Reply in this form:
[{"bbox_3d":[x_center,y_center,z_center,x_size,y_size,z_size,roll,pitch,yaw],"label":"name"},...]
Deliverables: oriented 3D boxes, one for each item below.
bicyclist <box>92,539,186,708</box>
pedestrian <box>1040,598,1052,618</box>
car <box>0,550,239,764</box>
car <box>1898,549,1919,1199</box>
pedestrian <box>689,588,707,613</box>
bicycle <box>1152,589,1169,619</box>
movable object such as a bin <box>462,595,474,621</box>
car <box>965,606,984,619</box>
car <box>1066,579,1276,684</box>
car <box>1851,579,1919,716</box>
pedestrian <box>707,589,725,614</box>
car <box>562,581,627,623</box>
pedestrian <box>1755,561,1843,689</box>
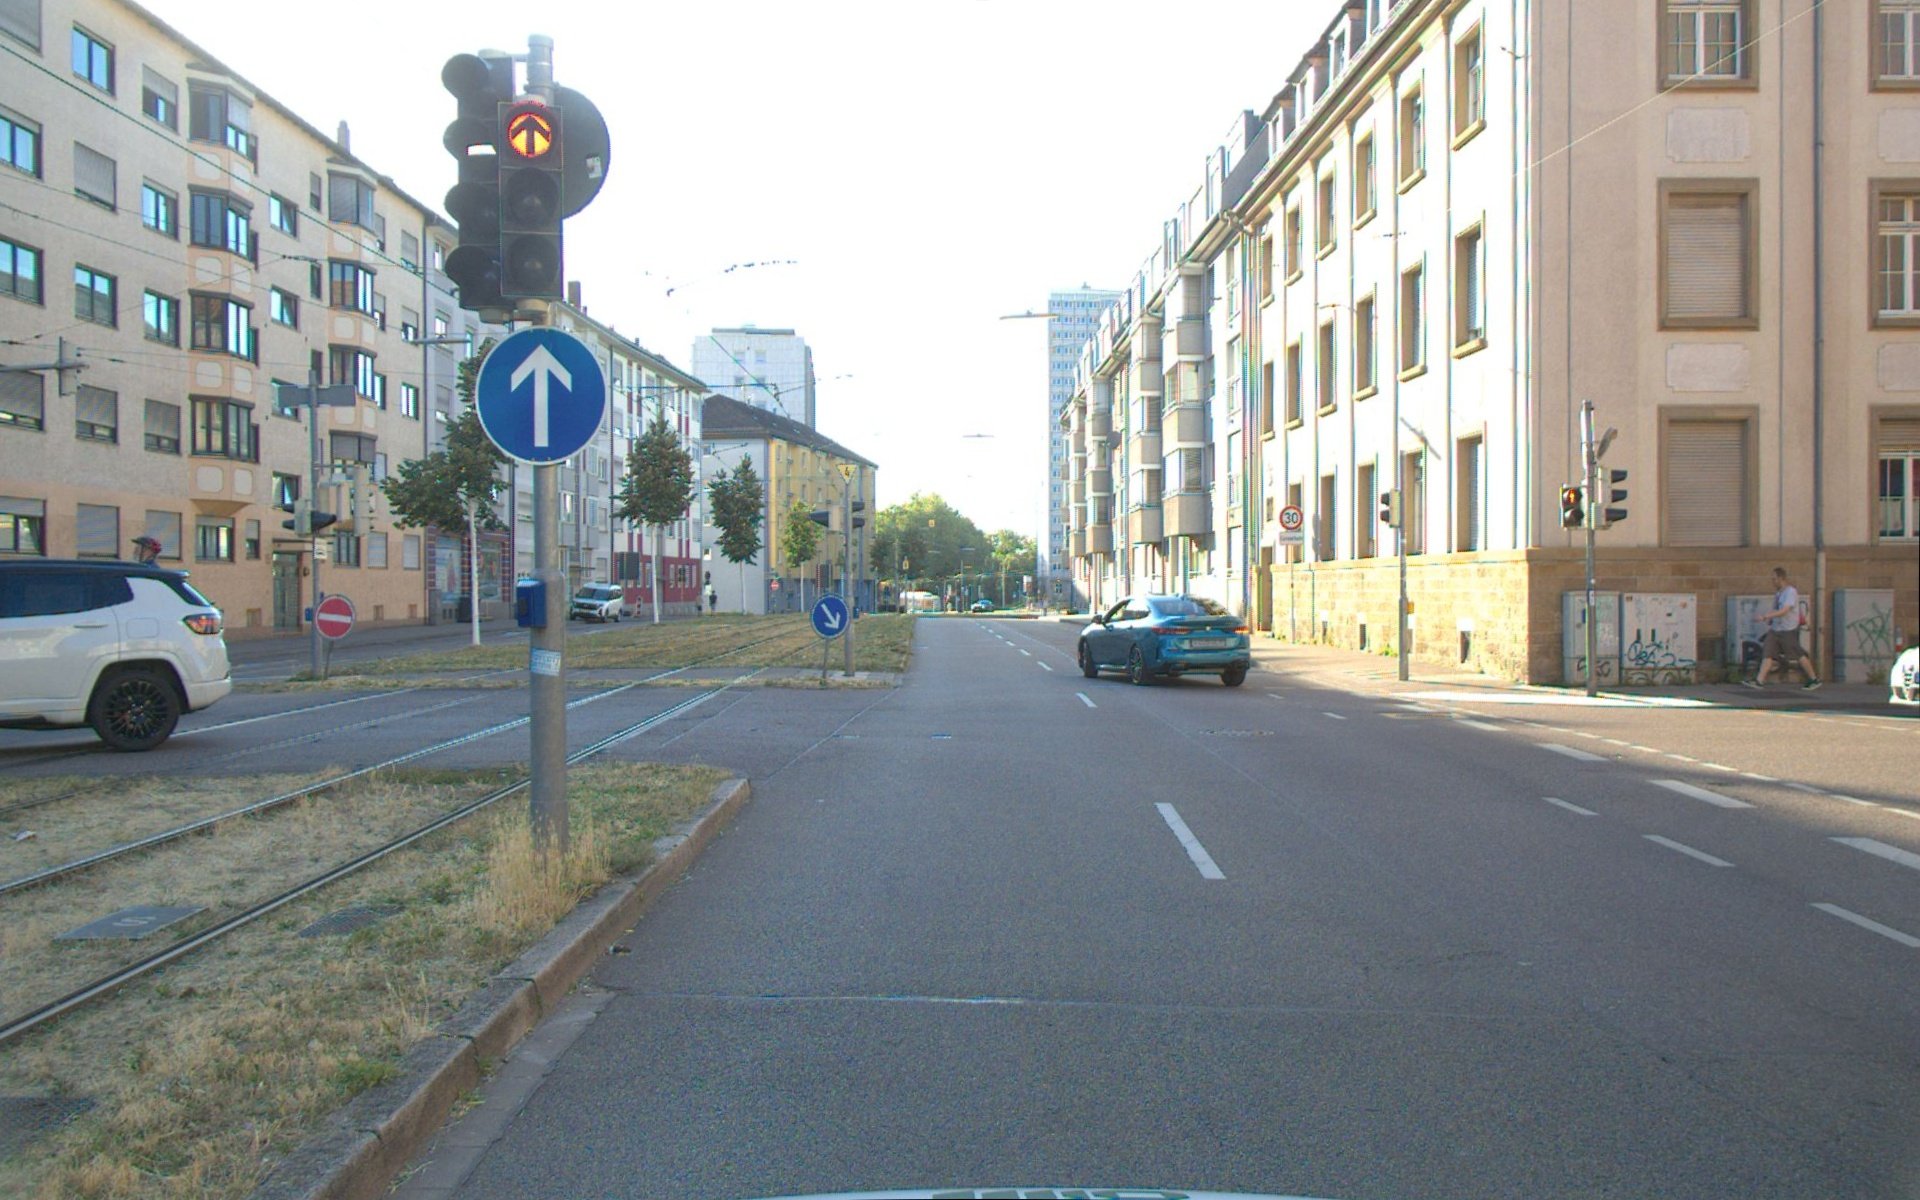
[{"bbox_3d":[-9.514,0.256,19.188,0.792,1.915,0.651,-1,2,-12],"label":"bicyclist"},{"bbox_3d":[5.339,0.484,102.523,0.677,1.256,0.736,1,0,0],"label":"pedestrian"},{"bbox_3d":[-8.702,0.476,14.383,4.330,1.765,1.981,-1,0,-29],"label":"car"},{"bbox_3d":[2.874,0.719,1.431,1.663,1.580,4.225,1,0,-1],"label":"car"},{"bbox_3d":[-17.882,0.032,112.896,0.942,1.723,1.011,1,0,4],"label":"pedestrian"},{"bbox_3d":[7.515,0.158,62.039,0.376,1.115,1.503,-1,0,-3],"label":"bicycle"},{"bbox_3d":[-20.245,0.330,68.056,0.292,1.054,0.441,1,-1,2],"label":"movable object such as a bin"},{"bbox_3d":[1.916,1.643,217.599,1.857,1.662,4.751,-1,0,7],"label":"car"},{"bbox_3d":[3.365,0.492,27.335,1.960,1.581,4.376,1,0,-14],"label":"car"},{"bbox_3d":[13.137,0.530,19.754,3.904,1.591,2.000,-1,0,1],"label":"car"},{"bbox_3d":[-16.757,0.107,113.616,0.942,1.699,1.011,1,0,4],"label":"pedestrian"},{"bbox_3d":[-17.907,0.122,81.304,1.952,1.958,4.543,1,0,3],"label":"car"},{"bbox_3d":[12.038,0.356,23.750,0.818,1.793,0.824,1,-1,-1],"label":"pedestrian"}]
